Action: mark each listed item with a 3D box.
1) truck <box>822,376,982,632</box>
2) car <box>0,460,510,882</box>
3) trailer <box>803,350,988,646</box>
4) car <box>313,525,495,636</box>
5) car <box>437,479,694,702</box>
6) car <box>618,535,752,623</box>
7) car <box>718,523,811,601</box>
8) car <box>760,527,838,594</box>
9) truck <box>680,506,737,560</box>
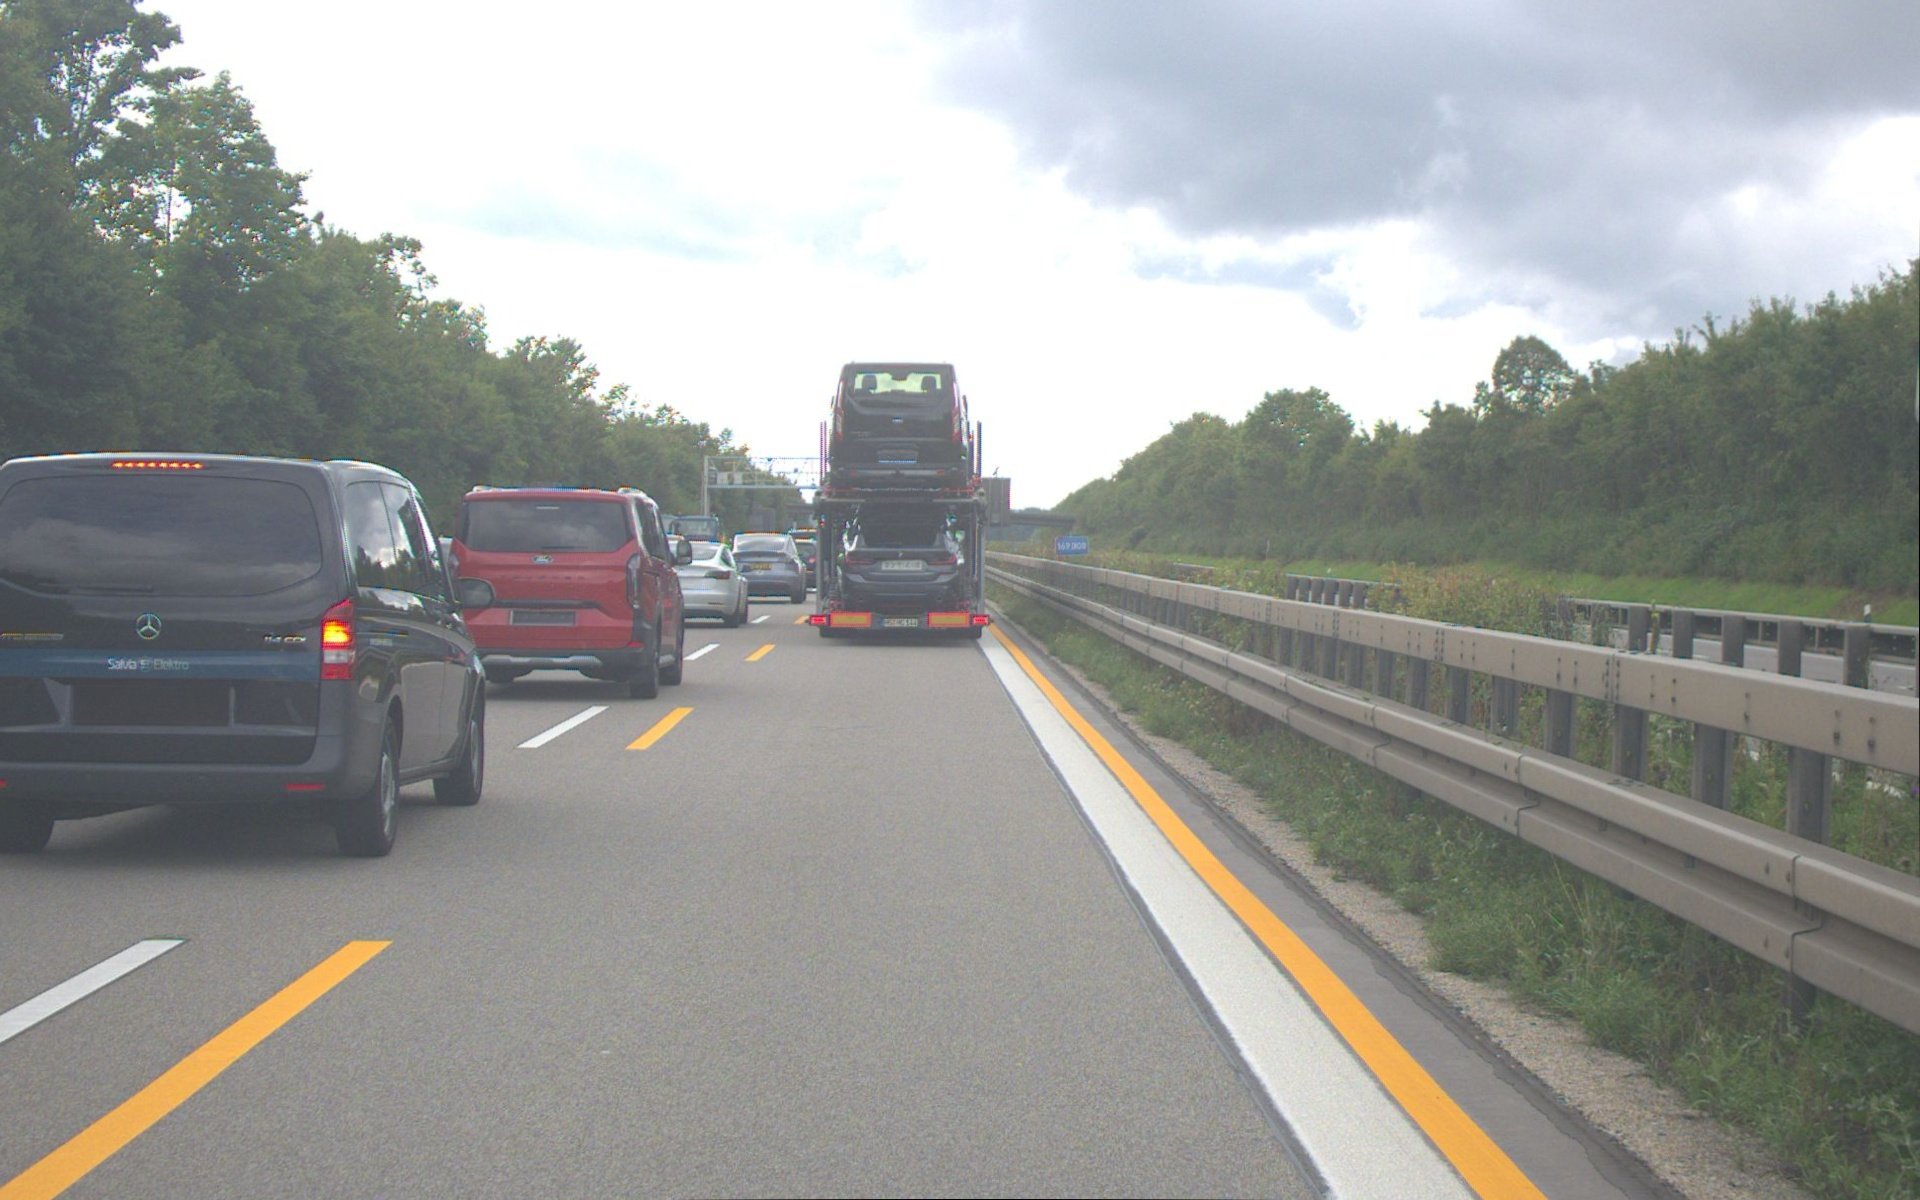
[{"bbox_3d":[-0.946,-1.595,58.135,2.515,4.091,5.685,1,1,0],"label":"truck"},{"bbox_3d":[-3.655,0.258,17.784,1.993,1.836,5.610,0,1,-1],"label":"car"},{"bbox_3d":[-0.926,-1.519,53.427,2.515,4.091,11.114,1,1,0],"label":"trailer"},{"bbox_3d":[-7.908,-0.314,49.289,1.998,1.494,4.901,1,1,-2],"label":"car"},{"bbox_3d":[-3.750,-0.128,33.439,2.031,2.007,4.578,0,1,-1],"label":"car"},{"bbox_3d":[-4.658,-0.388,58.806,2.031,1.426,4.578,0,1,-1],"label":"car"},{"bbox_3d":[-4.527,-0.904,80.102,2.031,1.751,4.578,0,1,-1],"label":"car"},{"bbox_3d":[-4.350,-1.081,93.285,2.031,1.751,4.578,0,1,-2],"label":"car"},{"bbox_3d":[-12.863,-3.431,176.197,2.490,2.708,6.667,1,1,-1],"label":"truck"}]
